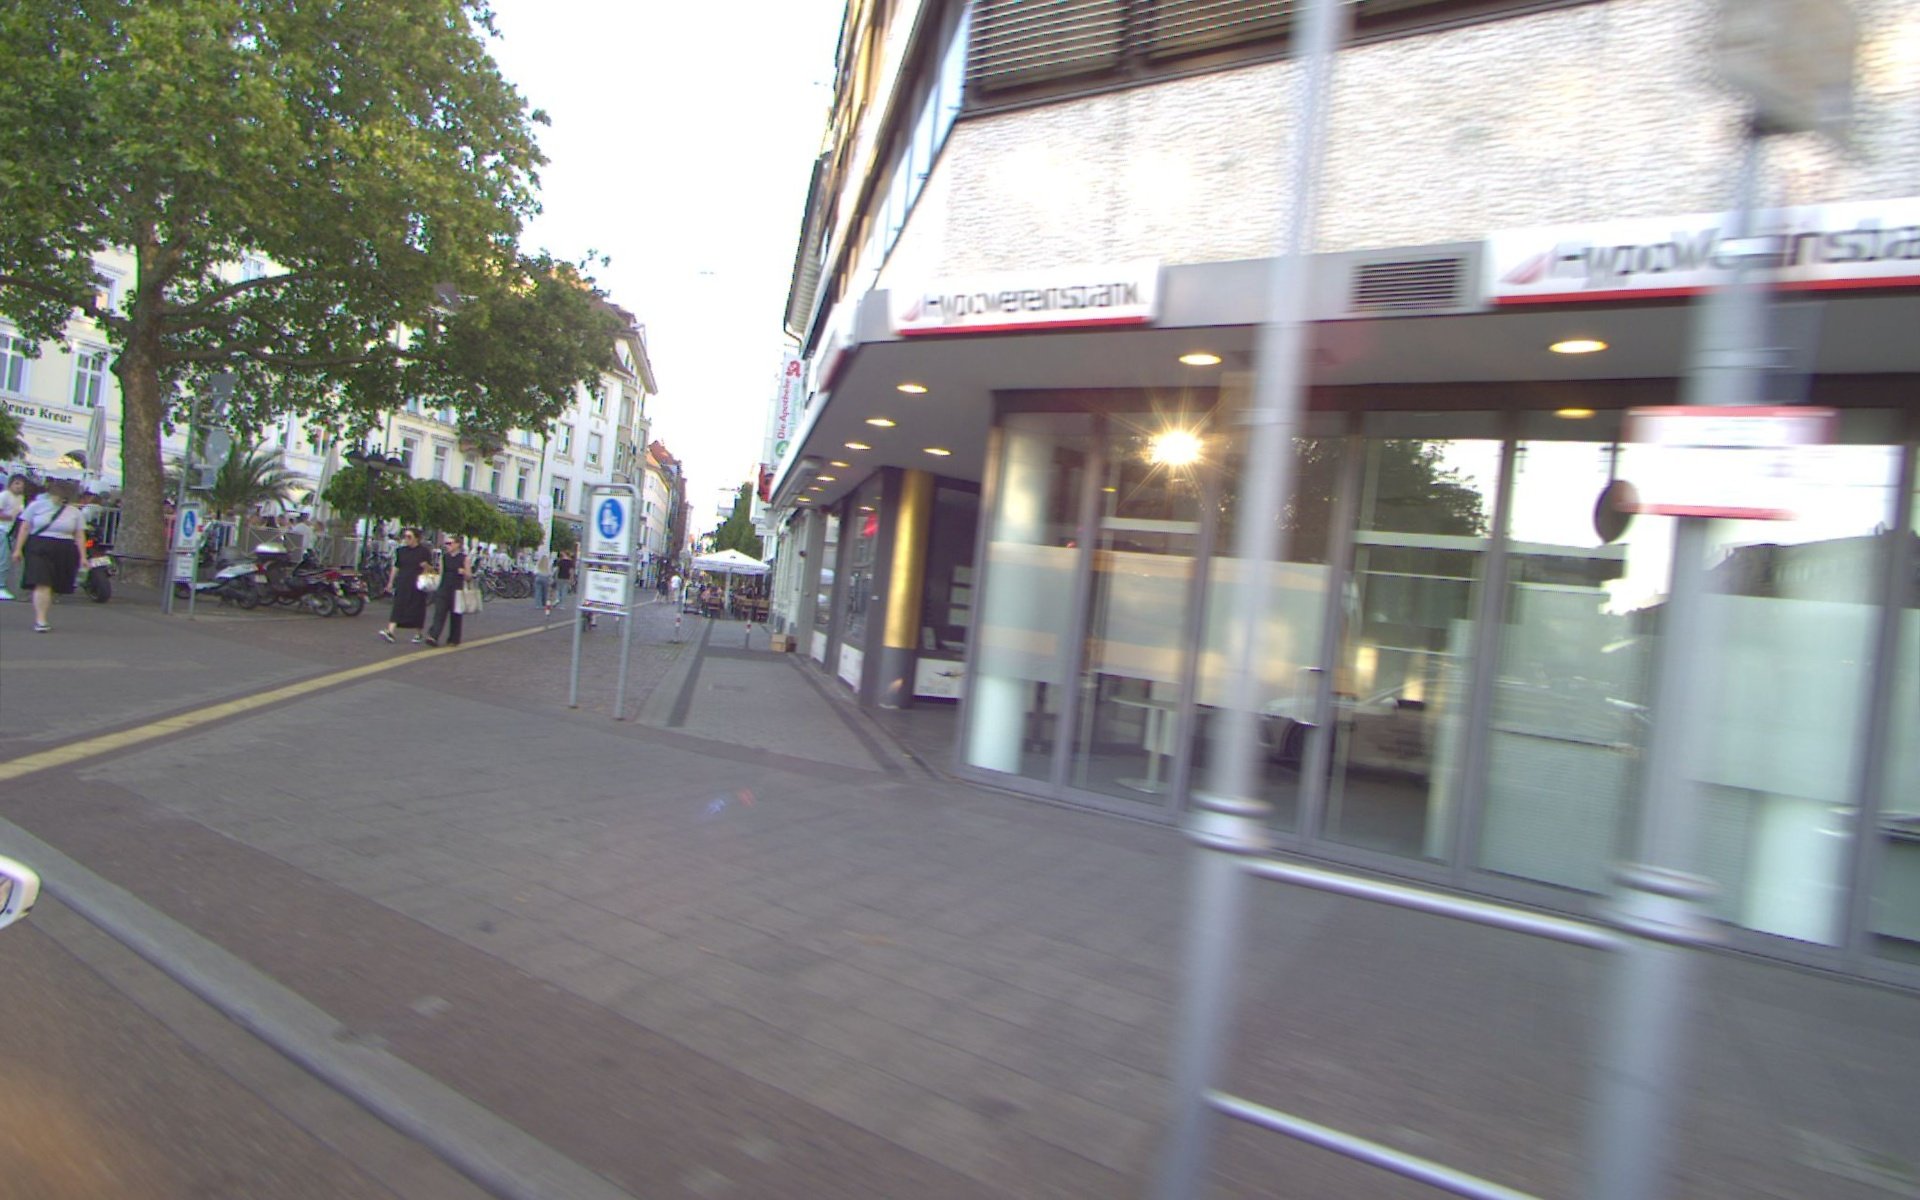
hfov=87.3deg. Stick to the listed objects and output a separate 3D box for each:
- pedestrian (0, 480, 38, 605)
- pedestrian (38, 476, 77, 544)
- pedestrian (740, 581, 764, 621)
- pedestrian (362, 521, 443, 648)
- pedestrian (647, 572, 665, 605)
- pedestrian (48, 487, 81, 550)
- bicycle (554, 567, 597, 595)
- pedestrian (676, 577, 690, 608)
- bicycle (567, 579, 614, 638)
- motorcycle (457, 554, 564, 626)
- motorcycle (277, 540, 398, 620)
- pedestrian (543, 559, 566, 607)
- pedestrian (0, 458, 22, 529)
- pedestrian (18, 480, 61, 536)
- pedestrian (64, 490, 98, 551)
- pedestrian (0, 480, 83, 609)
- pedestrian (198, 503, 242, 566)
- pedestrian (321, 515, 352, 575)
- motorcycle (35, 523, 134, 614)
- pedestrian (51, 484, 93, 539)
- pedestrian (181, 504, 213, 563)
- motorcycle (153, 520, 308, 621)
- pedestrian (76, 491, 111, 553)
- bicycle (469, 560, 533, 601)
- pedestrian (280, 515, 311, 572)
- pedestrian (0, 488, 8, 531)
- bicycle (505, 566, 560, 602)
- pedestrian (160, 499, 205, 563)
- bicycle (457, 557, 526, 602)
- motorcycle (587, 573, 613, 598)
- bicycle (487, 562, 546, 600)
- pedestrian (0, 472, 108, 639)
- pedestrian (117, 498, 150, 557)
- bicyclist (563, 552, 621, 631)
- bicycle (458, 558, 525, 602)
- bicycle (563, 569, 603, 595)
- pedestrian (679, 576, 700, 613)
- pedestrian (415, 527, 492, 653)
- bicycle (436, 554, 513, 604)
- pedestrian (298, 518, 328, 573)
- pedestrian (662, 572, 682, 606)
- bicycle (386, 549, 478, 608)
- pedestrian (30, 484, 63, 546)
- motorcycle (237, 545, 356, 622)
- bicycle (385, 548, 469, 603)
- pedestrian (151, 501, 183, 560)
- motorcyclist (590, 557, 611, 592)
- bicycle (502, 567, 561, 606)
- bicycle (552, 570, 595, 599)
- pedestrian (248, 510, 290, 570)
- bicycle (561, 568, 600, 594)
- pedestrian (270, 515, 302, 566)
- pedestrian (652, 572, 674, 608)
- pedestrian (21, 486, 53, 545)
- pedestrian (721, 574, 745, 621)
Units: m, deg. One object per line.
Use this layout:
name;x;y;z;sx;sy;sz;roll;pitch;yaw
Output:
pedestrian;-13.814;-0.840;14.434;0.651;1.738;0.614;5;0;34
pedestrian;-22.301;-2.202;24.857;0.617;1.590;0.623;5;0;-44
pedestrian;-8.817;0.028;42.593;0.750;1.615;0.617;5;0;1
pedestrian;-8.150;-0.211;14.744;0.647;1.762;0.823;5;0;-7
pedestrian;-16.526;-0.627;54.670;0.586;1.721;0.607;5;0;41
pedestrian;-20.255;-1.836;22.751;0.472;1.346;0.533;5;0;-44
bicycle;-21.479;-1.031;56.221;2.090;1.307;0.440;7;0;-24
pedestrian;-17.480;-0.461;63.543;0.688;1.888;0.760;5;0;-18
bicycle;-8.465;0.205;23.102;0.641;1.226;2.192;7;-2;-14
motorcycle;-9.763;-0.208;21.887;1.923;1.297;0.562;7;0;-6
motorcycle;-11.970;-0.382;19.364;1.920;1.297;0.563;7;0;5
pedestrian;-14.244;-0.600;35.369;0.528;1.631;0.602;5;0;-11
pedestrian;-32.384;-3.601;34.003;0.569;2.332;0.615;5;0;10
pedestrian;-29.160;-2.923;31.883;0.648;1.663;0.758;5;0;31
pedestrian;-19.693;-1.764;22.526;0.472;1.301;0.533;5;0;-44
pedestrian;-13.079;-0.782;14.298;0.644;1.738;0.678;5;0;34
pedestrian;-16.463;-1.447;22.377;0.642;1.301;0.732;5;-1;-42
pedestrian;-15.366;-1.343;24.800;0.472;1.417;0.534;5;0;-42
motorcycle;-13.133;-0.485;15.071;1.997;1.172;0.455;6;0;32
pedestrian;-28.823;-2.878;32.659;0.648;1.663;0.759;5;0;27
pedestrian;-17.642;-1.540;23.264;0.472;1.301;0.534;5;0;-42
motorcycle;-12.733;-0.511;17.578;2.253;1.440;0.566;8;0;5
pedestrian;-19.153;-1.723;22.233;0.472;1.301;0.533;5;0;-44
bicycle;-17.720;-0.739;38.883;2.090;1.307;0.439;8;0;-24
pedestrian;-16.058;-1.361;24.313;0.472;1.301;0.534;5;0;-42
pedestrian;-29.661;-2.799;30.453;0.890;1.282;0.964;5;-1;31
bicycle;-18.533;-0.705;43.658;2.090;1.307;0.440;7;0;-24
pedestrian;-16.991;-1.501;21.971;0.642;1.301;0.732;5;-1;-42
bicycle;-16.673;-0.715;35.816;2.090;1.307;0.440;8;-1;-24
motorcycle;-16.085;-0.651;44.933;1.562;1.046;0.347;4;-1;42
bicycle;-18.495;-0.793;41.975;2.090;1.308;0.439;8;2;-24
pedestrian;-10.491;-0.506;11.615;0.811;1.826;0.714;6;1;34
pedestrian;-19.200;-1.678;23.374;0.472;1.301;0.533;5;0;-44
bicyclist;-8.460;-0.172;23.178;0.977;1.671;0.997;6;-2;-14
bicycle;-17.139;-0.733;36.882;2.090;1.307;0.440;8;0;-24
bicycle;-22.572;-1.064;60.279;2.090;1.307;0.440;7;0;-24
pedestrian;-15.122;-0.302;56.261;0.831;1.994;0.757;4;0;-31
pedestrian;-7.454;-0.135;14.835;0.647;1.745;0.823;5;0;-7
bicycle;-15.540;-0.664;32.231;2.079;1.307;0.442;8;1;-4
pedestrian;-16.225;-1.363;25.216;0.472;1.301;0.534;5;0;-42
pedestrian;-16.091;-0.600;56.171;0.743;1.832;0.756;5;0;-33
bicycle;-14.340;-0.581;27.326;2.079;1.307;0.442;8;1;-4
pedestrian;-21.257;-1.967;23.412;0.472;1.380;0.533;5;0;-44
motorcycle;-12.168;-0.299;18.473;1.763;1.165;0.553;7;0;5
bicycle;-15.752;-0.725;29.728;2.079;1.308;0.441;8;2;-4
pedestrian;-18.216;-1.591;23.100;0.475;1.301;0.519;5;0;-41
motorcyclist;-16.036;-1.136;44.906;0.595;1.458;0.596;6;-1;-43
bicycle;-17.399;-0.532;40.853;2.090;1.307;0.440;7;0;-24
bicycle;-21.152;-0.836;55.048;2.090;1.307;0.440;7;0;-24
pedestrian;-16.013;-1.382;23.309;0.642;1.301;0.732;5;-1;-42
bicycle;-22.699;-1.130;60.181;2.090;1.307;0.440;7;0;-24
pedestrian;-18.098;-1.585;27.007;0.469;1.301;0.537;5;0;41
pedestrian;-15.859;-0.536;53.694;0.752;1.854;0.669;5;0;41
pedestrian;-21.779;-1.982;23.732;0.472;1.321;0.533;5;0;-44
pedestrian;-9.070;-0.098;40.203;0.564;1.808;0.624;5;0;23
